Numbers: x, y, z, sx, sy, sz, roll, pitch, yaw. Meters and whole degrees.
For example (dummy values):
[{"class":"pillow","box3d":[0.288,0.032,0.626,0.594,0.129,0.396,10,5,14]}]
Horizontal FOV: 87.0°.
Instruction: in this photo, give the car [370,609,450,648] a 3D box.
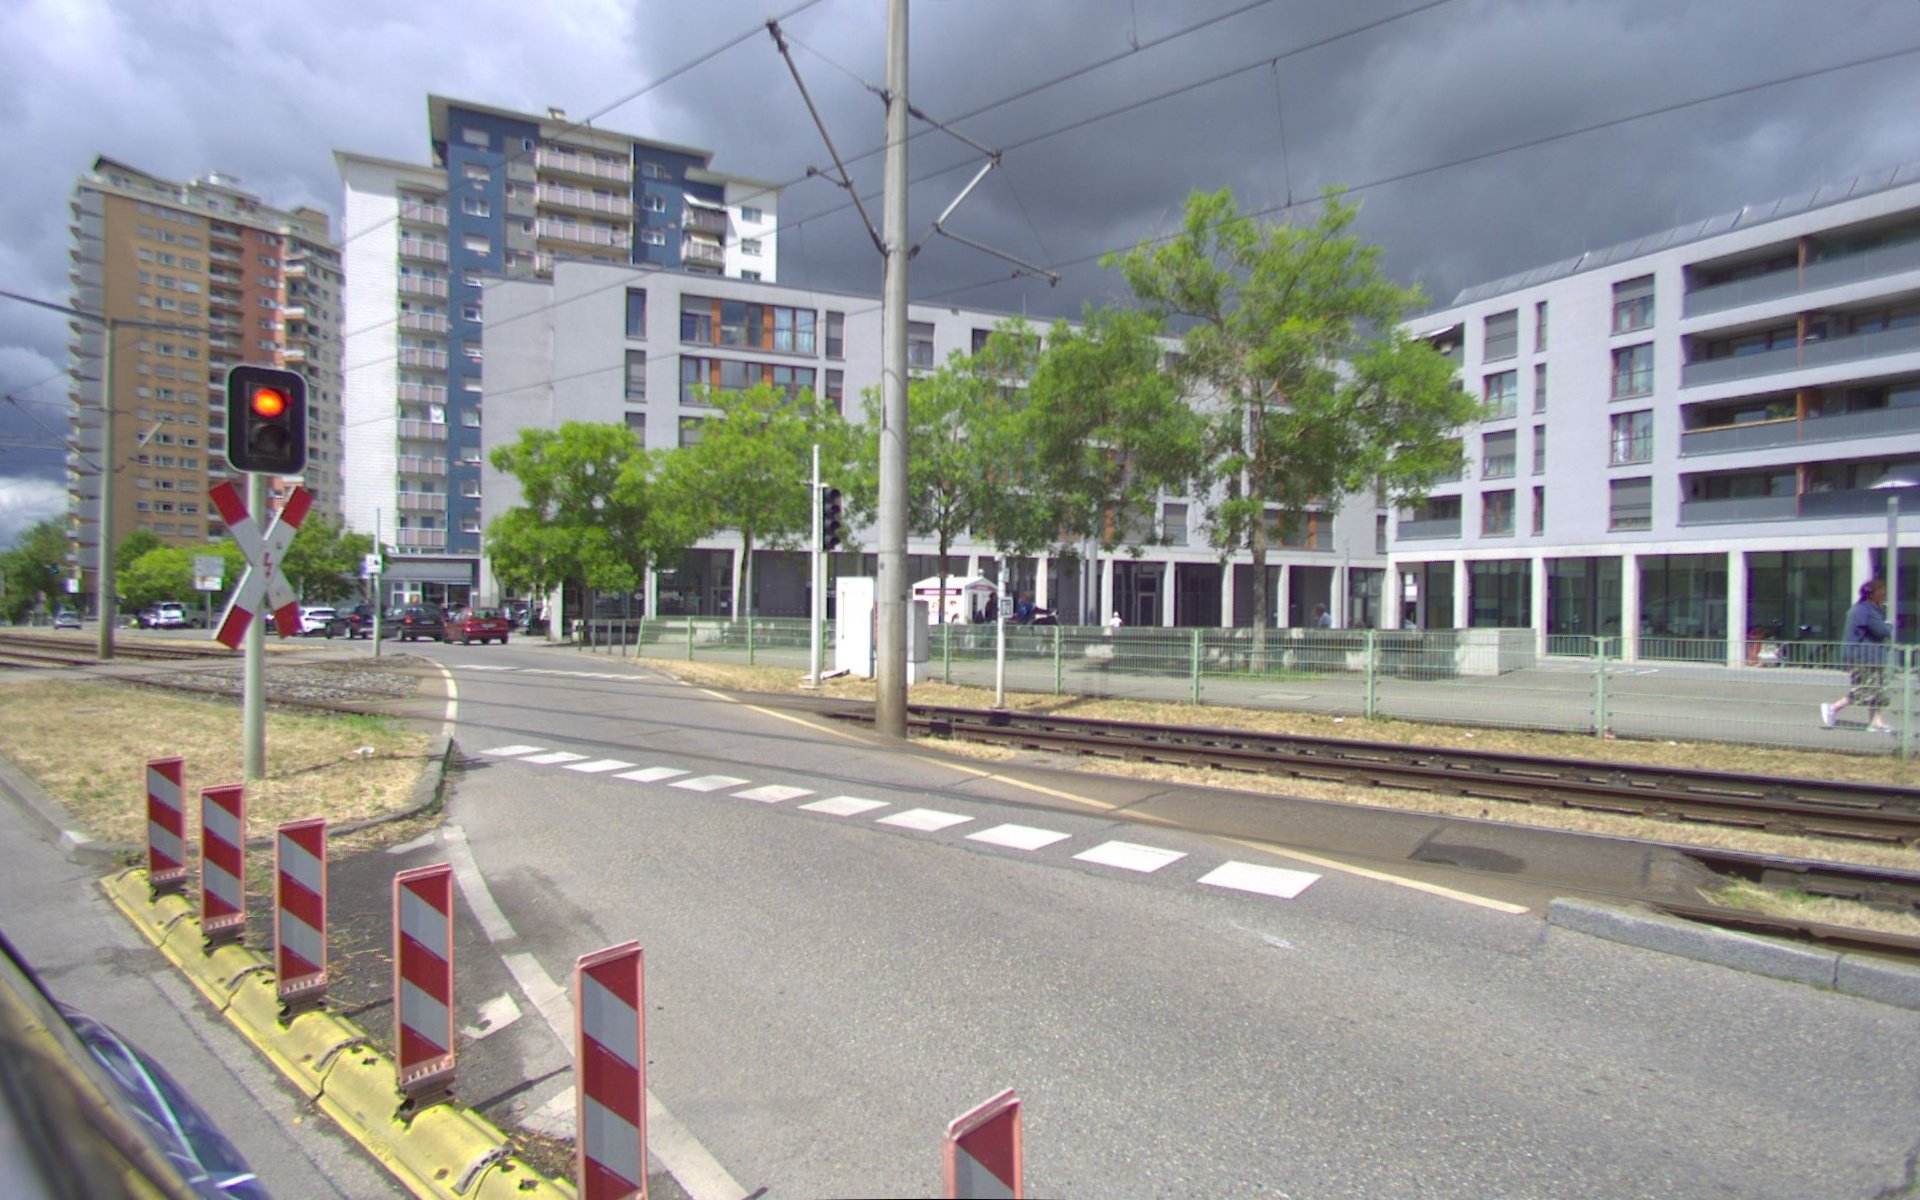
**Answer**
[{"class":"car","box3d":[-23.424,1.192,43.085,3.803,1.551,1.868,-1,0,42]}]

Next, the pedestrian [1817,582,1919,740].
[{"class":"pedestrian","box3d":[9.875,0.631,10.914,0.937,1.625,0.746,-1,0,41]}]

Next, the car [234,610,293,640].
[{"class":"car","box3d":[-38.135,1.339,55.416,3.801,1.551,1.758,-1,0,41]}]

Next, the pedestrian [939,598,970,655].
[{"class":"pedestrian","box3d":[-0.194,0.933,36.375,0.906,2.029,0.728,-1,0,24]}]

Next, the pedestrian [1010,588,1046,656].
[{"class":"pedestrian","box3d":[1.701,0.531,25.137,0.538,1.666,0.739,-1,0,41]}]

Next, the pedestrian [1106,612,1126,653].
[{"class":"pedestrian","box3d":[7.360,1.521,47.636,0.737,1.920,0.540,-1,0,-21]}]

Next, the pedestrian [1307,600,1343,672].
[{"class":"pedestrian","box3d":[8.430,0.824,23.408,0.744,1.623,0.535,-1,0,19]}]

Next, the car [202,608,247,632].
[{"class":"car","box3d":[-51.405,1.382,70.697,3.801,1.672,1.758,-1,0,41]}]

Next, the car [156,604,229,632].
[{"class":"car","box3d":[-55.231,1.266,72.970,1.856,1.940,4.496,-1,0,0]}]

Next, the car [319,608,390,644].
[{"class":"car","box3d":[-28.203,1.187,47.119,3.801,1.551,1.758,-1,0,41]}]

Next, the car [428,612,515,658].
[{"class":"car","box3d":[-18.753,1.299,38.784,3.805,1.635,1.867,-1,0,45]}]

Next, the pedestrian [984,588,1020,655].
[{"class":"pedestrian","box3d":[1.071,0.539,25.736,0.538,1.666,0.739,-1,0,41]}]

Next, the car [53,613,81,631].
[{"class":"car","box3d":[-79.408,1.959,89.965,1.756,1.511,3.807,-1,0,-44]}]

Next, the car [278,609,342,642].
[{"class":"car","box3d":[-32.946,1.271,51.264,3.801,1.551,1.758,-1,0,41]}]
